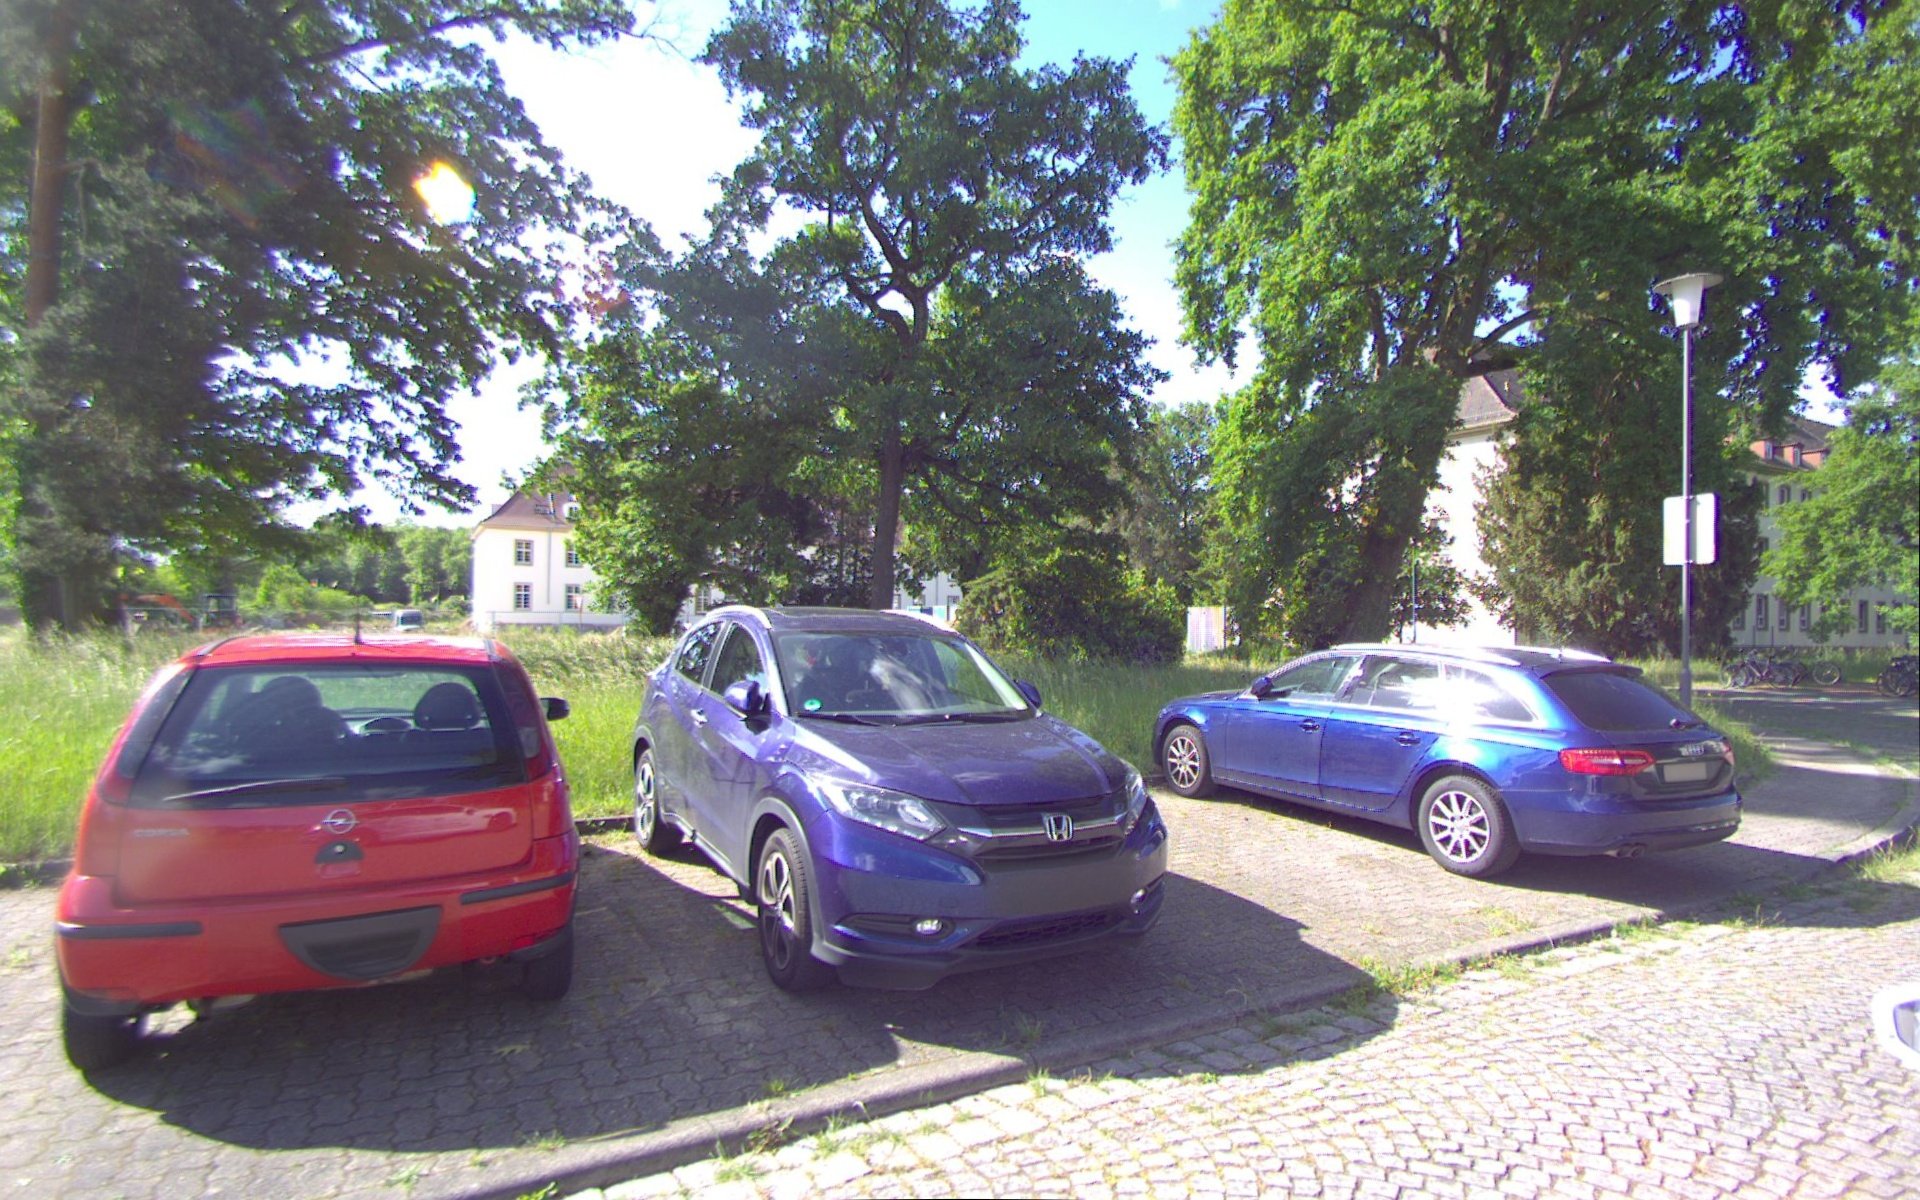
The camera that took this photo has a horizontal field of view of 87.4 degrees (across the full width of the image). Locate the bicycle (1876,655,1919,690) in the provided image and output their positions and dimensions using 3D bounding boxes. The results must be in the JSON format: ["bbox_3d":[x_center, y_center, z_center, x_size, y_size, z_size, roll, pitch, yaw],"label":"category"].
[{"bbox_3d":[29.588,2.239,31.002,1.891,1.072,0.473,-3,-3,41],"label":"bicycle"}]

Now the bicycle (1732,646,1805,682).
[{"bbox_3d":[27.284,2.135,33.901,1.892,1.117,0.567,0,0,43],"label":"bicycle"}]

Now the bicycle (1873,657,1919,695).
[{"bbox_3d":[27.410,2.160,28.701,1.890,1.072,0.474,-3,-3,39],"label":"bicycle"}]

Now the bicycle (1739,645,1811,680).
[{"bbox_3d":[27.996,2.138,34.547,1.889,1.117,0.568,0,0,38],"label":"bicycle"}]

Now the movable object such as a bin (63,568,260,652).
[{"bbox_3d":[-39.106,0.590,49.397,3.868,3.780,6.767,0,-2,37],"label":"movable object such as a bin"}]

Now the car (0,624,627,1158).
[{"bbox_3d":[-2.916,0.885,4.975,1.818,1.452,3.908,1,-1,-27],"label":"car"}]

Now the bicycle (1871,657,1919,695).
[{"bbox_3d":[27.962,2.218,29.368,1.891,1.072,0.473,-3,-3,41],"label":"bicycle"}]

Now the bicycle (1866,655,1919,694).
[{"bbox_3d":[26.386,2.053,27.786,1.890,1.072,0.474,-3,-3,39],"label":"bicycle"}]

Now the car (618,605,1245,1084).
[{"bbox_3d":[-0.583,0.845,5.634,1.861,1.600,4.118,1,-1,-28],"label":"car"}]

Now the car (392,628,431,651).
[{"bbox_3d":[-45.173,3.230,82.695,1.980,1.878,4.088,2,-2,-41],"label":"car"}]

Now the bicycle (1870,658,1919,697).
[{"bbox_3d":[26.819,2.167,28.153,1.890,1.072,0.474,-3,-3,39],"label":"bicycle"}]

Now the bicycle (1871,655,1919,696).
[{"bbox_3d":[25.741,2.015,26.917,1.886,1.072,0.475,-2,-3,33],"label":"bicycle"}]

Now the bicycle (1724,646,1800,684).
[{"bbox_3d":[26.112,2.105,32.741,1.887,1.117,0.569,0,0,34],"label":"bicycle"}]

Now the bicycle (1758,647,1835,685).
[{"bbox_3d":[27.297,2.136,32.797,1.892,1.117,0.567,0,0,43],"label":"bicycle"}]

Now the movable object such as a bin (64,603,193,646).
[{"bbox_3d":[-43.662,1.282,52.756,5.566,2.153,2.530,0,-2,17],"label":"movable object such as a bin"}]

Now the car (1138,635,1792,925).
[{"bbox_3d":[3.459,1.072,7.876,1.895,1.464,4.346,1,-1,-26],"label":"car"}]

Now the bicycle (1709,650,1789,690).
[{"bbox_3d":[23.971,2.109,30.546,1.889,1.117,0.568,-1,-1,37],"label":"bicycle"}]

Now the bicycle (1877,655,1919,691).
[{"bbox_3d":[29.274,2.221,30.614,1.891,1.072,0.473,-3,-3,41],"label":"bicycle"}]

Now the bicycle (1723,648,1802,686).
[{"bbox_3d":[25.246,2.094,31.639,1.887,1.117,0.569,0,0,34],"label":"bicycle"}]

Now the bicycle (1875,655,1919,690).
[{"bbox_3d":[29.888,2.255,31.359,1.891,1.072,0.473,-3,-3,41],"label":"bicycle"}]

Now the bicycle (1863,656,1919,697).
[{"bbox_3d":[25.271,2.034,26.631,1.886,1.072,0.475,-2,-3,33],"label":"bicycle"}]

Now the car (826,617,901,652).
[{"bbox_3d":[-7.167,2.595,74.586,5.212,2.468,1.976,2,-2,-29],"label":"car"}]

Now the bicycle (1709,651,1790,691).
[{"bbox_3d":[23.646,2.111,30.115,1.889,1.117,0.568,-1,-1,37],"label":"bicycle"}]
